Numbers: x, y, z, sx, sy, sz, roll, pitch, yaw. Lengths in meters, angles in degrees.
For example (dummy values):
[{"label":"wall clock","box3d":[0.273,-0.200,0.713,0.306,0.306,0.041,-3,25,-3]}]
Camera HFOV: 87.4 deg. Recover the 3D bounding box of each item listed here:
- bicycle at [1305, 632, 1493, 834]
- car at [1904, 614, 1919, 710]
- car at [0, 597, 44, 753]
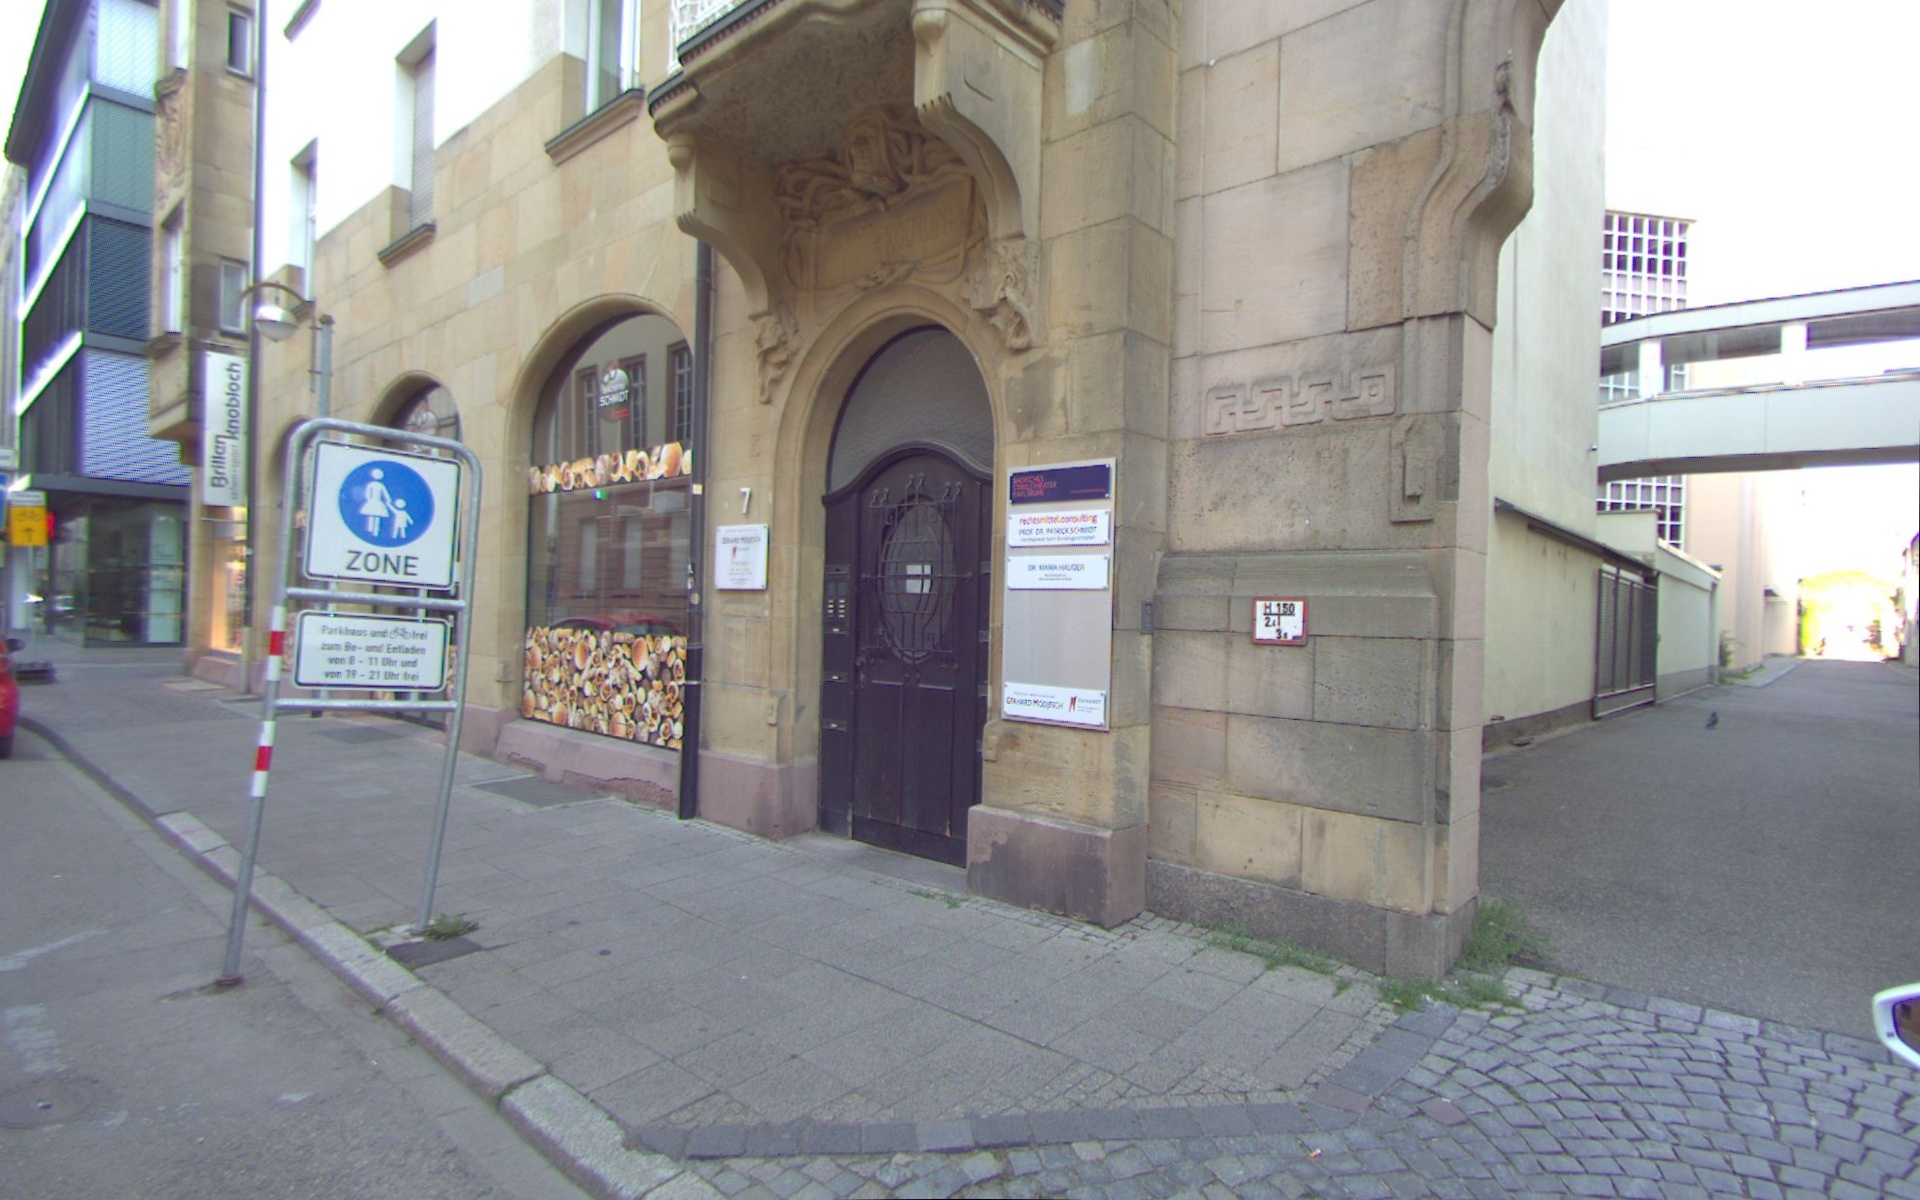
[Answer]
[{"label":"bicycle","box3d":[2.853,0.764,6.426,0.588,1.094,1.747,1,0,41]},{"label":"car","box3d":[18.441,1.183,17.952,1.832,1.779,4.144,5,1,39]},{"label":"car","box3d":[-10.514,0.657,10.095,3.112,1.460,1.630,0,-4,43]}]
